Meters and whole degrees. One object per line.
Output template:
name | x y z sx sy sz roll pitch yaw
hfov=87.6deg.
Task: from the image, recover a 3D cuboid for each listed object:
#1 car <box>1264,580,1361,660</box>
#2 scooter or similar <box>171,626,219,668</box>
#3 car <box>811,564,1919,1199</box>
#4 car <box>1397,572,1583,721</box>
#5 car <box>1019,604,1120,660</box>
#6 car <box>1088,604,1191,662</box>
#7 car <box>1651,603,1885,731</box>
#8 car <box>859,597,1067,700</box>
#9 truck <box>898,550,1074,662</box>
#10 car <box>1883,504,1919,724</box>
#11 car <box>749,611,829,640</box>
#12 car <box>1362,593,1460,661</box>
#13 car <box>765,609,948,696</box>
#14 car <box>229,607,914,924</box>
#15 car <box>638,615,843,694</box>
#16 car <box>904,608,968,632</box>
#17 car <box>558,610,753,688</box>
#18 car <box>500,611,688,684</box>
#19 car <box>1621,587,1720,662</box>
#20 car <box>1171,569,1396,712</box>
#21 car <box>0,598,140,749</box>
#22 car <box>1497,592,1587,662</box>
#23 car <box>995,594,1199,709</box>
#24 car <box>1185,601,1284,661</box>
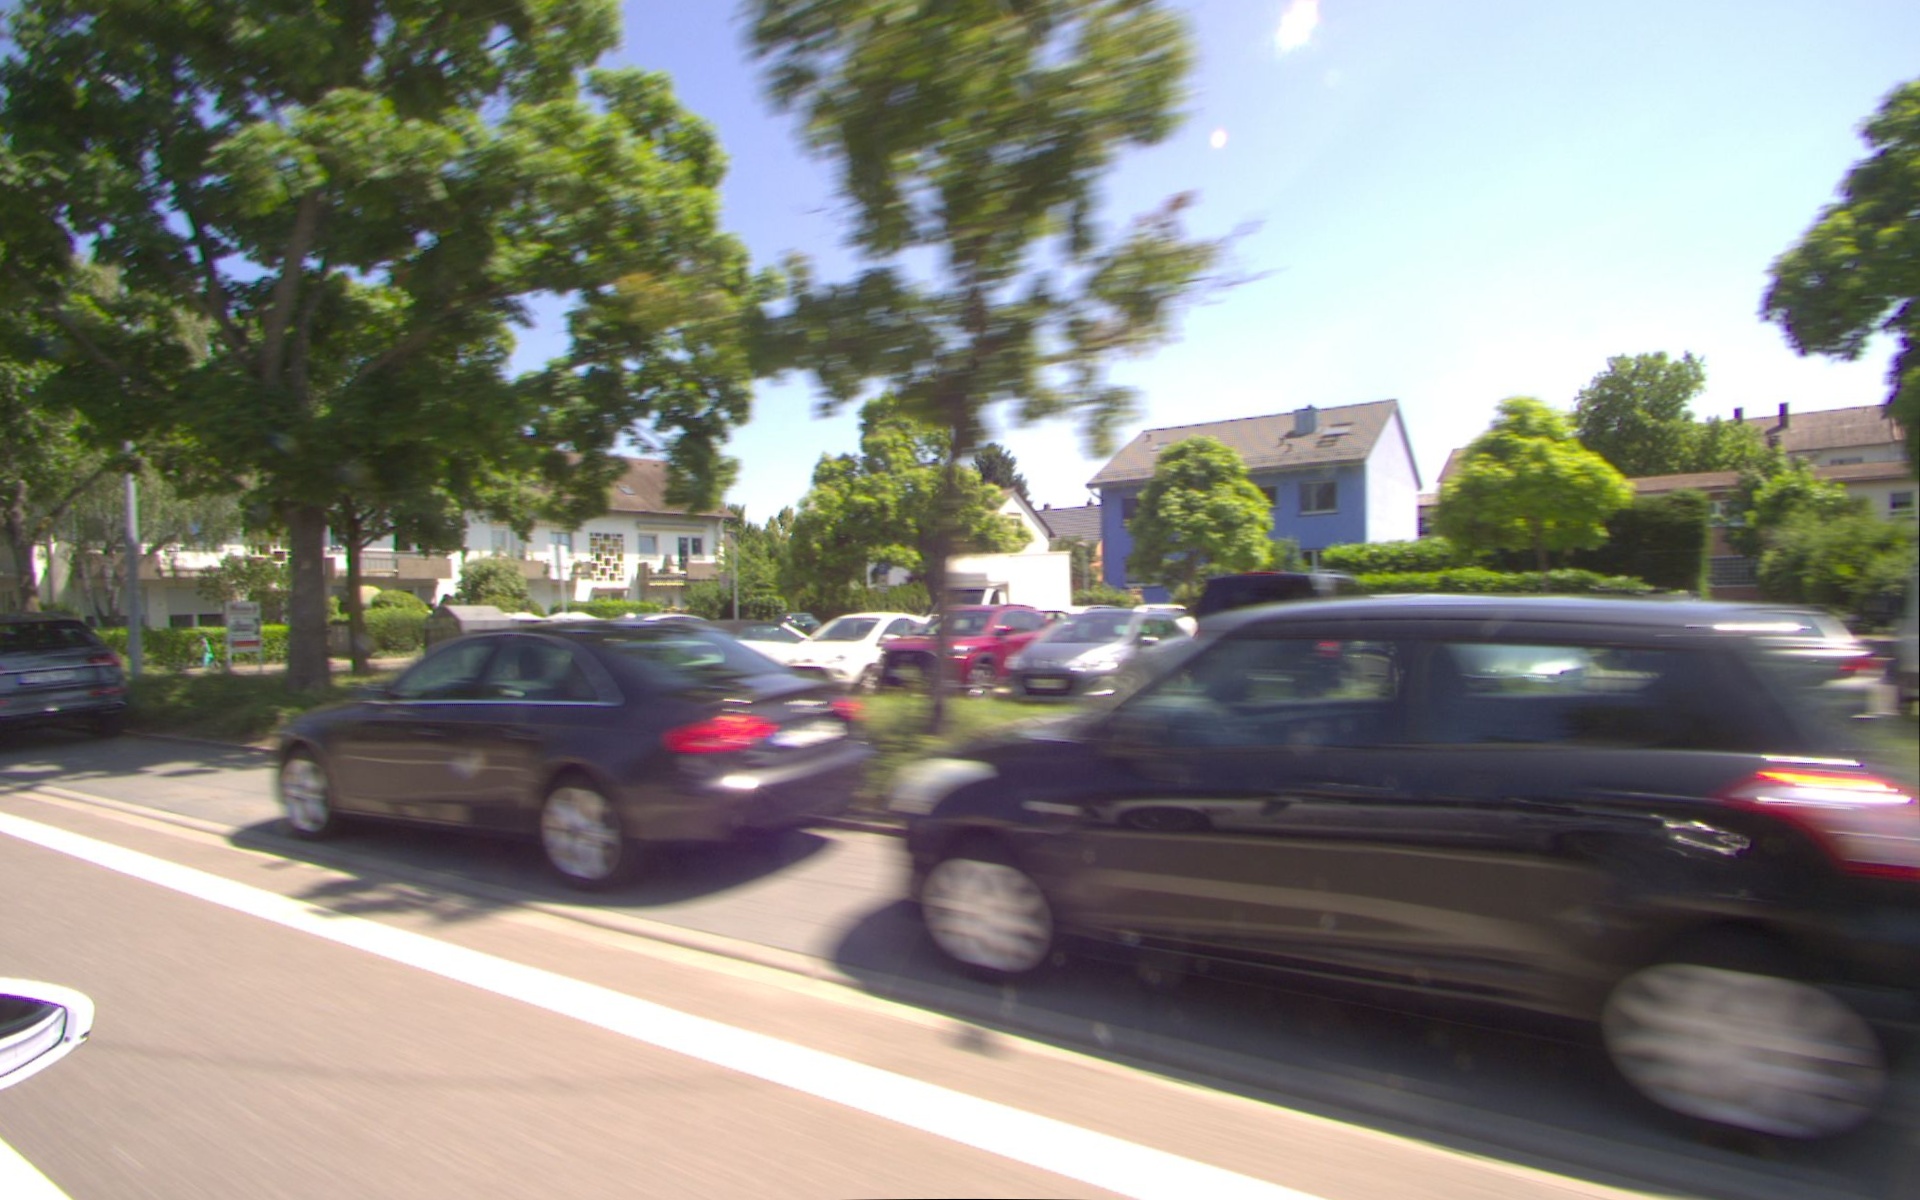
car | 9.105 0.450 25.689 1.727 1.832 3.993 -1 2 29
scooter or similar | -24.507 1.500 32.093 1.176 1.288 0.596 -1 1 -42
car | 1.408 0.707 4.073 3.787 1.562 1.707 -1 3 34
car | 6.580 0.551 12.370 1.743 1.509 4.017 -1 -2 30
car | 3.333 0.913 30.085 1.659 1.448 3.325 -1 2 34
car | 5.175 0.894 28.590 1.659 1.448 3.455 -1 2 34
car | 8.854 0.693 11.244 1.658 1.204 3.329 -1 -2 32
car | 0.185 0.785 16.838 1.743 1.509 4.017 -1 -2 30
truck | 1.020 0.078 31.464 2.389 3.127 6.932 -1 2 31
car | 11.157 0.112 9.855 2.065 2.490 5.481 -1 -2 32
car | -8.404 1.244 49.418 1.700 1.363 3.765 0 0 39
car | 11.051 0.620 24.438 1.659 1.448 3.325 -1 2 34
car | -1.812 0.931 18.364 1.658 1.446 3.329 -1 -2 32
car | -2.735 0.833 6.705 4.638 1.438 1.708 -1 3 30
car | -4.199 1.035 19.707 1.745 1.375 3.853 -1 -2 32
car | -1.376 1.137 58.118 1.700 1.363 3.765 0 0 39
car | -6.355 1.013 21.314 1.743 1.508 3.857 -1 -2 29
car | -8.296 1.066 22.996 1.743 1.508 3.857 -1 -2 29
car | 15.505 0.490 21.983 1.659 1.448 3.325 -1 2 34
car | 4.737 0.564 14.155 1.927 1.665 4.684 -1 -2 32
car | -12.666 0.905 12.942 4.641 1.655 1.708 -2 2 32
car | 13.897 0.584 23.821 1.659 1.448 3.325 -1 2 34
car | 2.242 0.760 15.437 1.743 1.509 4.017 -1 -2 30
car | 7.633 0.808 27.673 1.659 1.448 3.325 -1 2 34
